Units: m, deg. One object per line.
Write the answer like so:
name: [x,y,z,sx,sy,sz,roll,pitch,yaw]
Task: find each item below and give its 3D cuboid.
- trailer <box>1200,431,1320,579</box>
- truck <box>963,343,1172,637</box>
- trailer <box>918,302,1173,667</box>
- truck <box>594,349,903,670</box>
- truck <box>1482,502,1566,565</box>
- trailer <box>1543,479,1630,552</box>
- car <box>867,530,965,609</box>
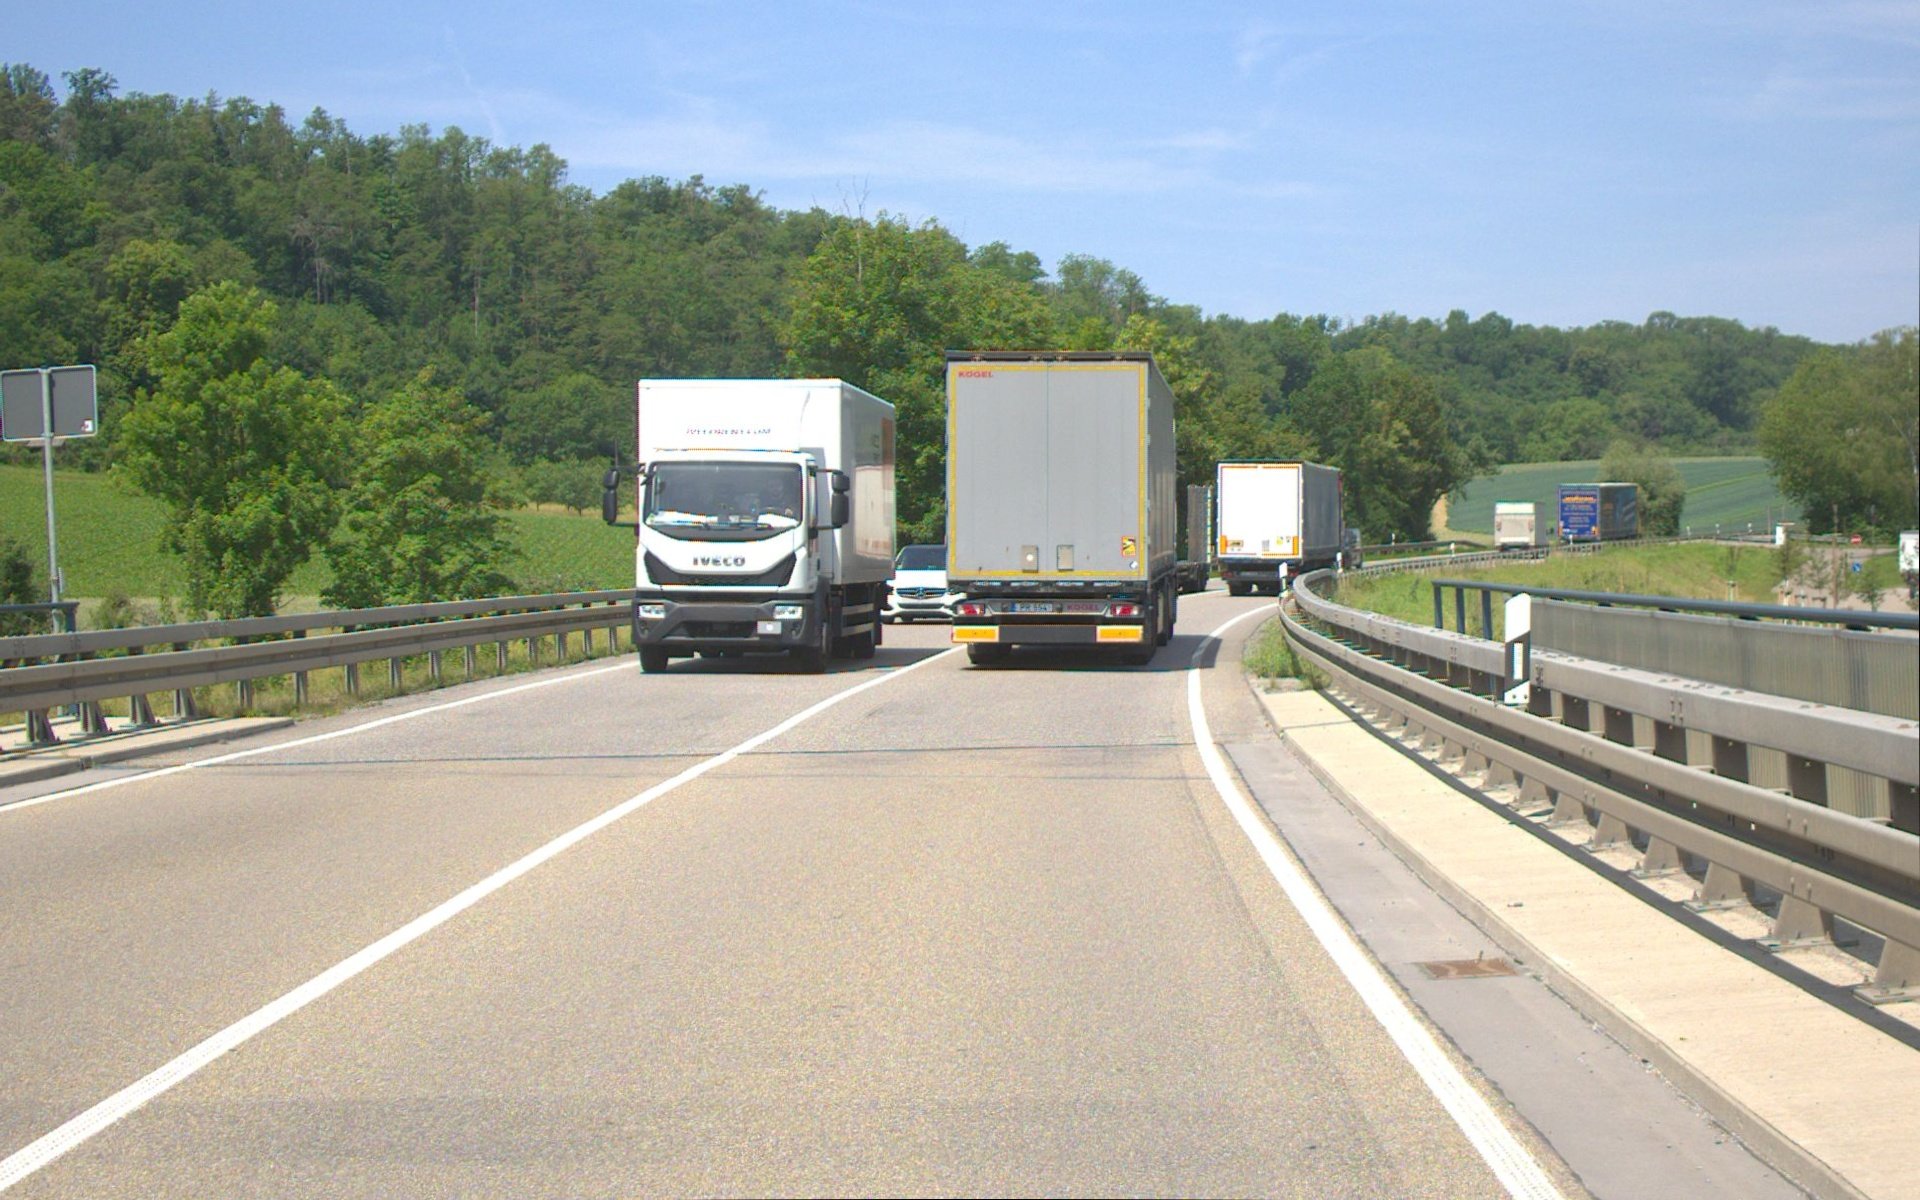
trailer: [9.493,-2.838,107.428,3.366,4.302,13.861,0,1,6]
truck: [1.849,-1.772,56.012,3.119,4.479,6.810,0,1,4]
trailer: [1.463,-1.605,49.214,3.118,4.484,13.885,0,1,3]
truck: [-2.586,-1.183,45.556,2.915,3.790,9.707,0,1,4]
truck: [30.831,-3.574,187.468,3.225,3.354,11.866,0,1,16]
trailer: [38.167,-5.088,209.113,3.651,4.248,12.184,0,1,18]
car: [-0.840,-0.620,68.035,1.758,1.506,4.000,0,1,2]
